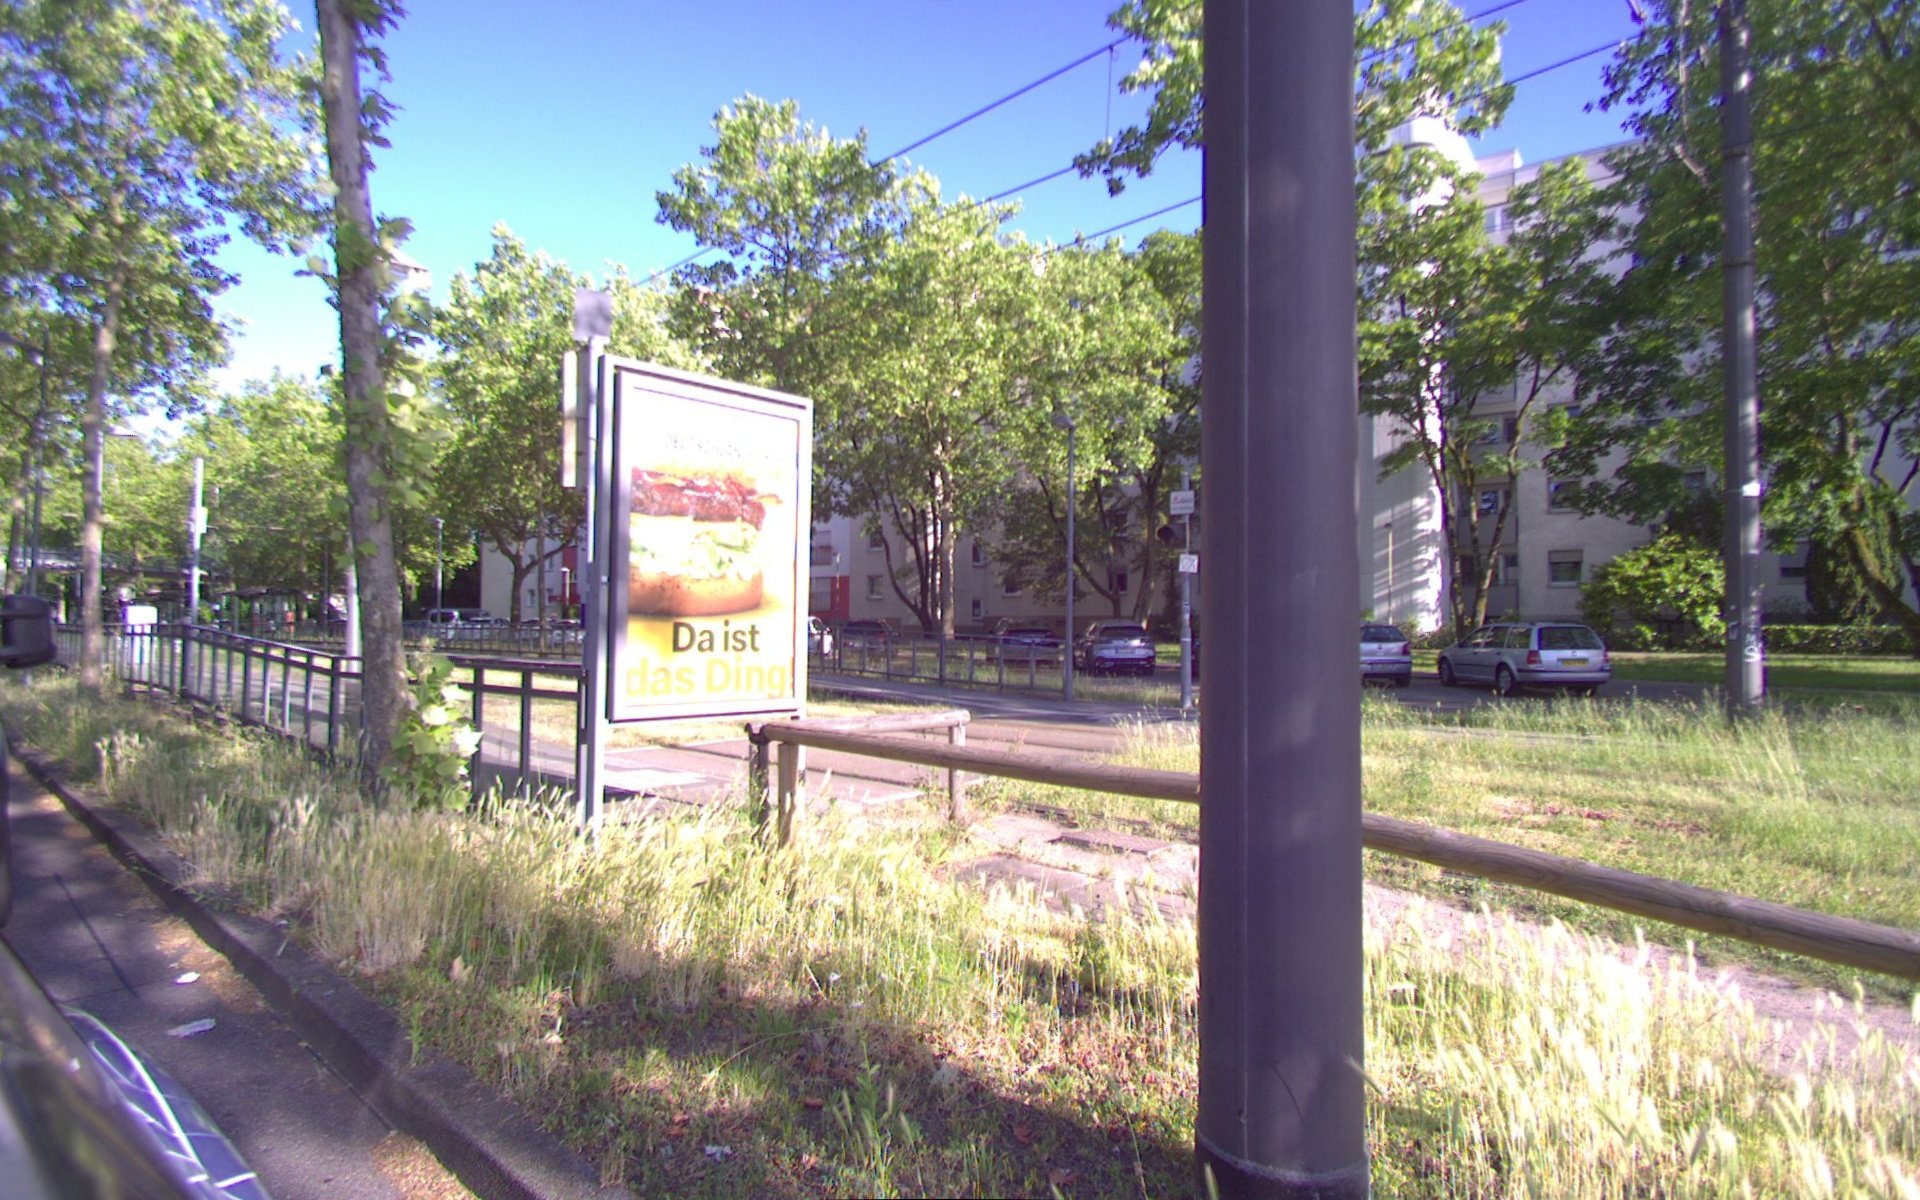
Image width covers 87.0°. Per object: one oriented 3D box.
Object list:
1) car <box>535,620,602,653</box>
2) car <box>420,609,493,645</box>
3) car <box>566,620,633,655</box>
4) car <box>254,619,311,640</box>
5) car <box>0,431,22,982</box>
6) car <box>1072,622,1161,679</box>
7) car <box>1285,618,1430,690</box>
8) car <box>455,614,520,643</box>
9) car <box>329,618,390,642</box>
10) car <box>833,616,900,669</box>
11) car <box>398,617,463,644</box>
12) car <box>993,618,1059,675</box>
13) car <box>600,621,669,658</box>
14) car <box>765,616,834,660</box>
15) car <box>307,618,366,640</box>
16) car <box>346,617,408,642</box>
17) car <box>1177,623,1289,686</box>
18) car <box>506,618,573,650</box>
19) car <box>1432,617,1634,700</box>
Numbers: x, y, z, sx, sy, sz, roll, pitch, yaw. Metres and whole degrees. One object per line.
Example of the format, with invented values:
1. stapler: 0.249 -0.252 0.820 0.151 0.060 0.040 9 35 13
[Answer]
1. car: -19.141 1.776 49.614 1.770 1.510 4.050 -1 -1 -1
2. car: -28.460 1.502 57.354 1.993 1.934 4.433 -1 -1 -1
3. car: -16.811 1.725 47.423 1.770 1.510 4.050 -1 -1 -1
4. car: -53.085 2.289 79.377 1.770 1.510 4.050 -1 -1 -1
5. car: -6.617 0.450 5.227 5.659 2.221 2.013 -1 -1 41
6. car: 4.203 1.331 27.748 1.770 1.398 4.049 -1 -1 0
7. car: 9.176 1.204 23.726 1.740 1.498 4.049 -1 -1 0
8. car: -26.006 1.554 55.794 1.770 1.510 4.050 -1 -1 -1
9. car: -40.159 1.960 67.754 1.770 1.510 4.050 -1 -1 -1
10. car: -3.153 1.417 34.853 1.771 1.676 4.047 -1 -1 2
11. car: -31.039 1.772 59.478 1.770 1.510 4.050 -1 -1 -1
12. car: 1.870 1.318 29.796 1.771 1.510 4.047 -1 -1 2
13. car: -14.256 1.684 44.537 1.770 1.510 4.050 -1 -1 -1
14. car: -5.828 1.357 37.119 1.771 1.510 4.047 -1 -1 2
15. car: -44.720 2.073 72.670 1.770 1.510 4.050 -1 -1 -1
16. car: -37.649 1.899 65.496 1.770 1.510 4.050 -1 -1 -1
17. car: 6.717 1.304 25.313 1.654 1.398 4.049 -1 -1 0
18. car: -21.281 1.684 51.347 1.770 1.510 4.050 -1 -1 -1
19. car: 11.555 1.127 20.781 1.789 1.498 4.049 -1 -1 0
